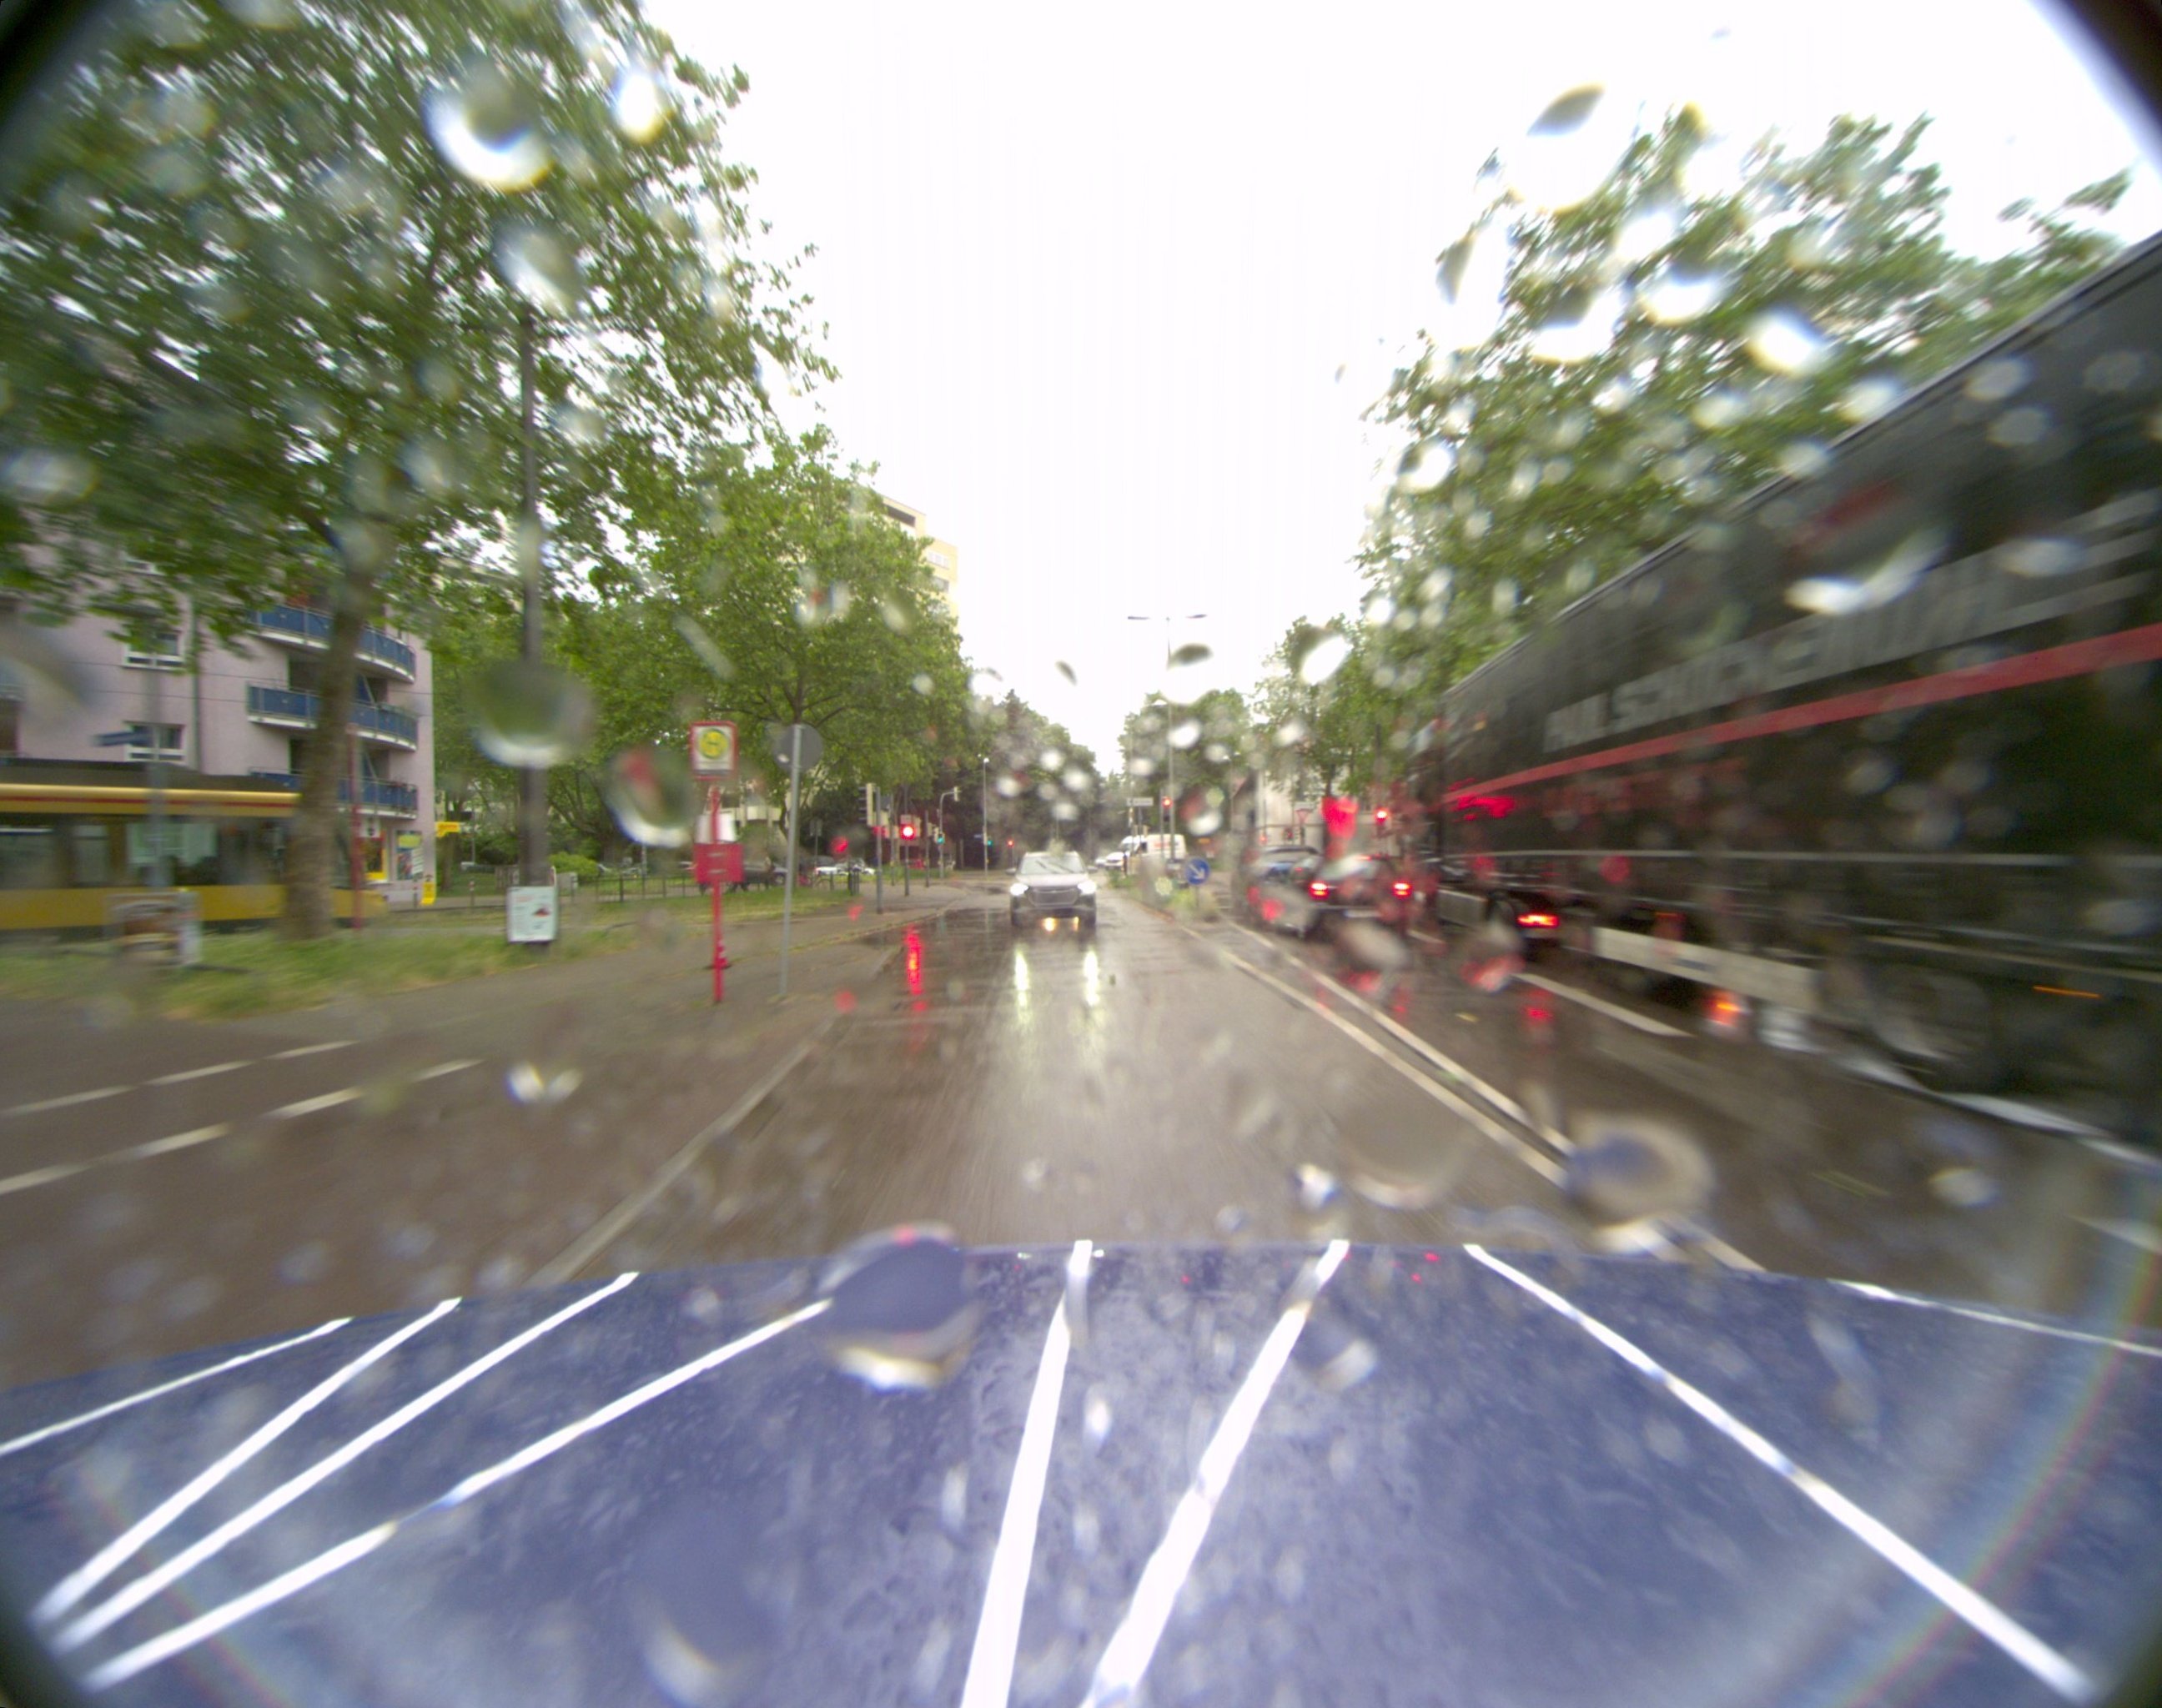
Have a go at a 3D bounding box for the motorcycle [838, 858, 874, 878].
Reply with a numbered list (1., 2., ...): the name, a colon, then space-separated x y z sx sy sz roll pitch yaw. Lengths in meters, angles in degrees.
1. motorcycle: -14.576 0.911 49.205 2.073 1.207 0.881 -1 0 2

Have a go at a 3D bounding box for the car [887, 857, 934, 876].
1. car: -14.378 1.060 64.234 3.457 1.516 1.843 -1 0 4

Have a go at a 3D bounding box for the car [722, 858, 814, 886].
1. car: -17.080 0.977 41.633 4.175 1.452 1.994 -1 0 -1

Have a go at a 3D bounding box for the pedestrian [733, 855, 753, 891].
1. pedestrian: -14.413 0.806 32.362 0.763 1.539 0.691 0 0 -26

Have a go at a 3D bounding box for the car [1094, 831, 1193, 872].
1. car: 4.167 -0.192 49.820 6.523 2.547 2.278 -1 0 -37

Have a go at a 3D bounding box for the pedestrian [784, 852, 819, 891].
1. pedestrian: -12.297 0.752 33.457 1.053 1.676 0.998 0 0 20

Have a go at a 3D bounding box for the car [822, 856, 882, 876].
1. car: -19.420 1.044 64.620 4.449 1.598 1.941 -1 0 7

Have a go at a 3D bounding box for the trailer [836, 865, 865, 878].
1. trailer: -14.620 1.103 48.219 1.481 0.837 1.027 -1 0 3

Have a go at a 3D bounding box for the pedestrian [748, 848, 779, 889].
1. pedestrian: -14.003 0.631 33.495 0.993 1.771 0.812 0 0 9

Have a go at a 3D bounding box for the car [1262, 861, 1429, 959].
1. car: 4.249 0.822 12.868 1.702 1.365 4.101 -1 0 5

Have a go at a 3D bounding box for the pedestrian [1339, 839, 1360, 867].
1. pedestrian: 16.555 -0.070 46.861 0.861 1.678 0.847 0 0 -19

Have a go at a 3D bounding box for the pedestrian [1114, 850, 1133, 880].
1. pedestrian: 2.212 0.567 39.498 0.863 1.572 0.642 0 0 -9

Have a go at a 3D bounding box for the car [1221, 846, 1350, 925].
1. car: 5.043 0.764 19.510 2.079 1.672 4.931 -3 -1 2

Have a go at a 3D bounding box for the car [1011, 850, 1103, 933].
1. car: -0.643 0.781 17.774 1.809 1.611 4.136 -3 0 -4

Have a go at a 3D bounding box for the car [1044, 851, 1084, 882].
1. car: -0.839 0.566 37.345 1.853 1.435 3.999 0 0 -1

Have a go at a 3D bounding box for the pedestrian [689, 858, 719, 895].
1. pedestrian: -15.668 0.915 31.553 1.066 1.517 0.876 -1 1 -27

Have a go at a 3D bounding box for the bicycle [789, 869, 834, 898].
1. bicycle: -10.561 1.159 29.806 1.620 1.070 0.445 -1 0 -17

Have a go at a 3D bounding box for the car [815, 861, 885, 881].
1. car: -15.687 1.135 51.680 4.170 1.268 1.903 -1 0 -3

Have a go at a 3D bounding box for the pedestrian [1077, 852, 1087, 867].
1. pedestrian: 0.073 0.650 85.439 0.942 1.650 0.929 0 0 12

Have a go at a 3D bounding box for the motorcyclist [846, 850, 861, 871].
1. motorcyclist: -14.726 0.402 49.222 0.754 1.343 0.758 -1 0 2

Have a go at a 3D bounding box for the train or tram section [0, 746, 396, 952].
1. train or tram section: -18.071 -0.069 13.585 8.392 3.349 2.639 -1 0 -37

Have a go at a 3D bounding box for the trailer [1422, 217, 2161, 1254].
1. trailer: 6.199 -0.458 4.726 3.448 4.025 15.060 0 0 8

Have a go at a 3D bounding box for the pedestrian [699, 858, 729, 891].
1. pedestrian: -15.587 0.863 32.271 1.011 1.373 0.673 0 0 -13

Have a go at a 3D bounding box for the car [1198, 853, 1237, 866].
1. car: 14.793 0.594 82.344 3.995 1.346 1.798 -1 0 5

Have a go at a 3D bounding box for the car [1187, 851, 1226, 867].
1. car: 15.107 0.548 91.595 4.665 1.862 2.035 0 0 9

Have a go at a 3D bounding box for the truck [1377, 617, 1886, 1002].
1. truck: 7.226 -0.431 11.681 3.456 4.054 6.978 -1 0 8

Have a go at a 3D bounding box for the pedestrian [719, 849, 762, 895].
1. pedestrian: -13.467 0.706 30.081 1.236 1.778 1.038 -1 0 -1

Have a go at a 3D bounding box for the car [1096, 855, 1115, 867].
1. car: 3.156 0.908 98.400 1.820 1.451 4.276 -1 0 10
